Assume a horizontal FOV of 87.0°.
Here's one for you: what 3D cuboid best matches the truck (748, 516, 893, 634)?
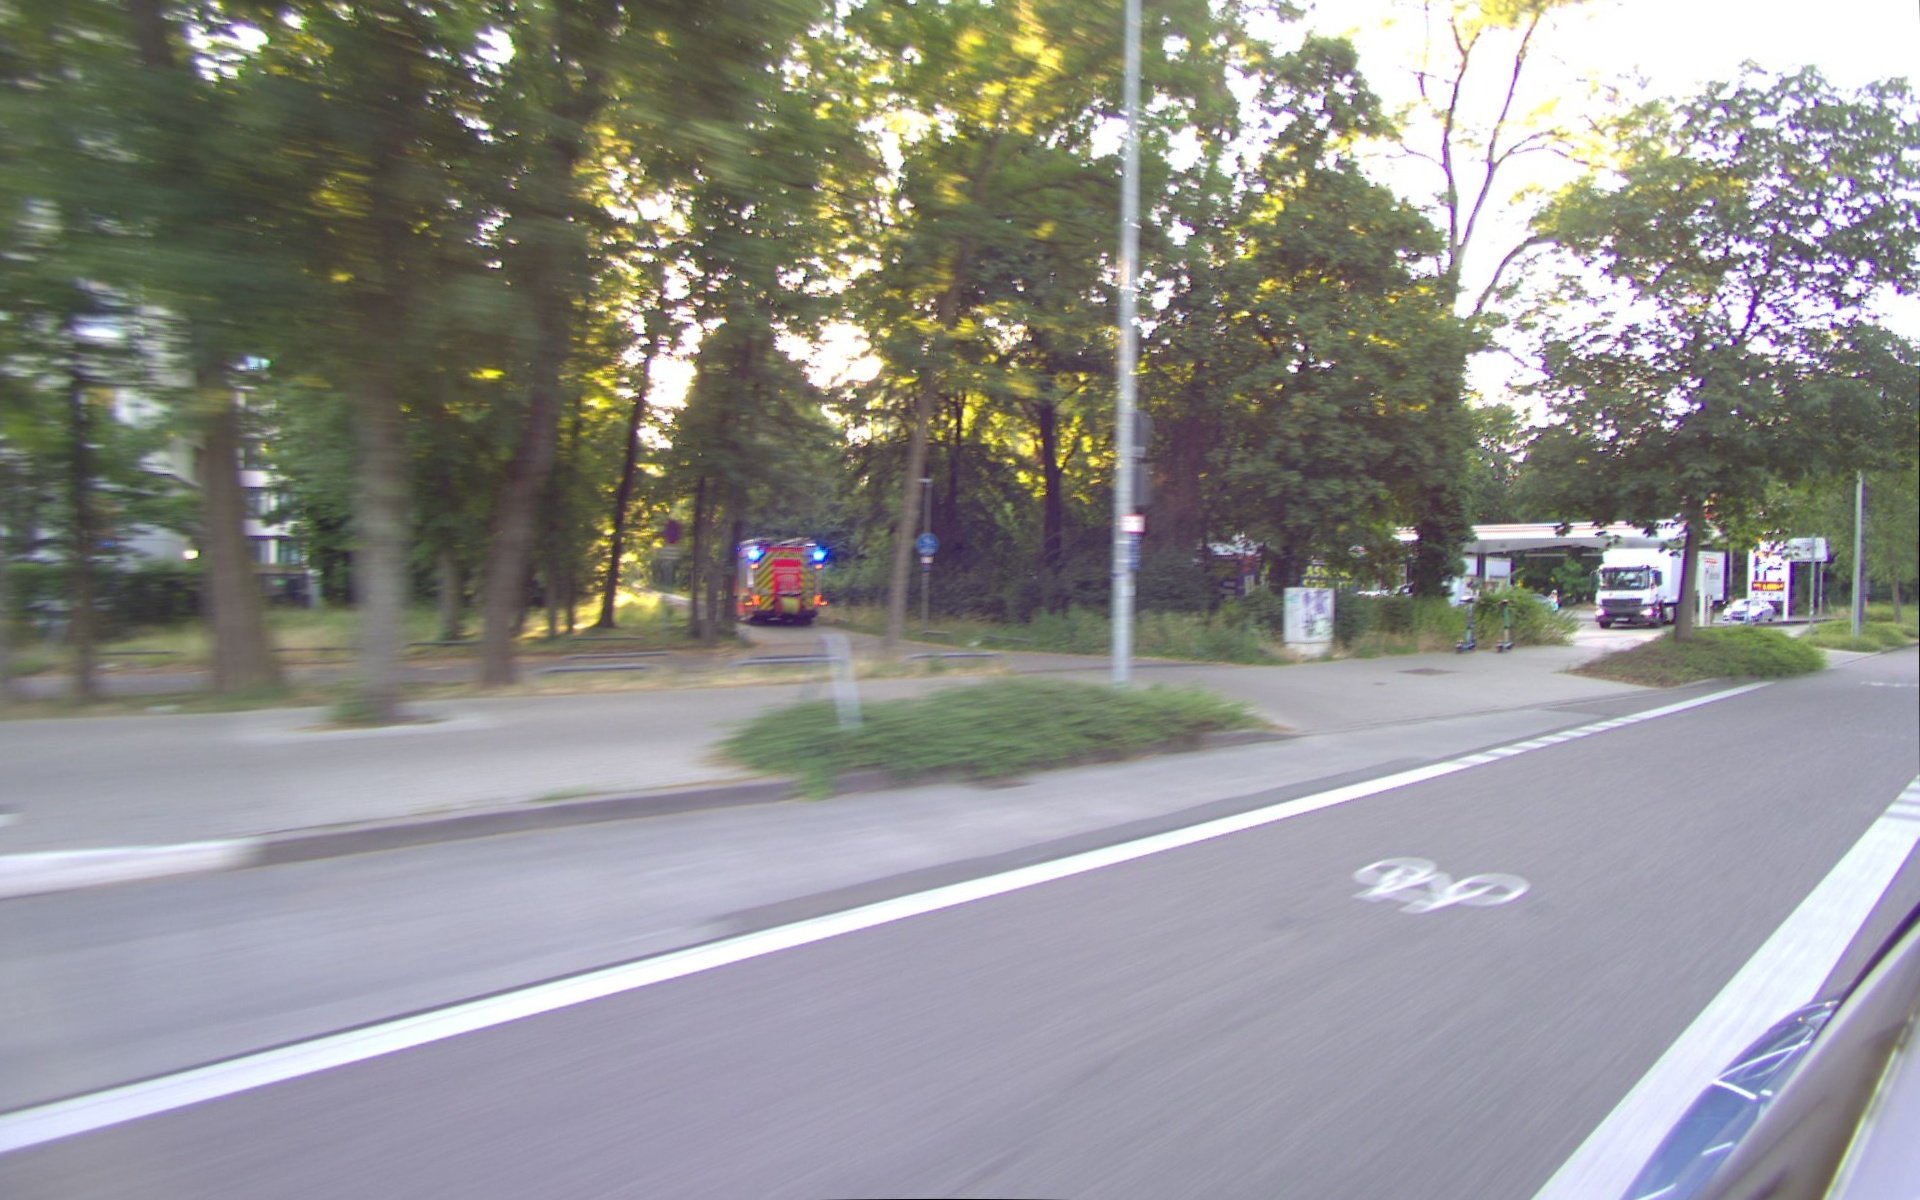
[{"bbox_3d":[-4.736,-0.779,32.478,2.703,3.251,8.683,1,1,-21],"label":"truck"}]

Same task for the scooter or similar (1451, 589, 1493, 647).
[{"bbox_3d":[11.754,0.397,23.226,0.482,1.298,1.212,3,2,44],"label":"scooter or similar"}]

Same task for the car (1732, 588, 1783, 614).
[{"bbox_3d":[50.142,0.036,63.588,1.994,1.611,4.634,0,0,45],"label":"car"}]

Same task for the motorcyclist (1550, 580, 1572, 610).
[{"bbox_3d":[40.483,-0.324,68.134,1.057,2.039,1.009,0,0,-41],"label":"motorcyclist"}]

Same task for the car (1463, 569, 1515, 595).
[{"bbox_3d":[32.972,-1.098,63.020,3.932,1.528,1.670,0,0,-43],"label":"car"}]

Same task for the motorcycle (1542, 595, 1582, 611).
[{"bbox_3d":[40.602,0.209,68.226,3.930,1.037,1.136,0,0,-41],"label":"motorcycle"}]

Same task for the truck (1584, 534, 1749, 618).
[{"bbox_3d":[36.554,-1.139,51.891,15.607,3.776,3.224,0,0,-41],"label":"truck"}]

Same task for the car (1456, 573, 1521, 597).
[{"bbox_3d":[38.758,-1.080,74.330,3.952,1.543,1.986,3,1,21],"label":"car"}]

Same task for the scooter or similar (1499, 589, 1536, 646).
[{"bbox_3d":[13.103,0.404,23.776,0.482,1.298,1.122,1,1,44],"label":"scooter or similar"}]

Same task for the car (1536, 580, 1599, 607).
[{"bbox_3d":[46.484,-0.514,77.421,3.978,2.039,1.808,0,0,38],"label":"car"}]
